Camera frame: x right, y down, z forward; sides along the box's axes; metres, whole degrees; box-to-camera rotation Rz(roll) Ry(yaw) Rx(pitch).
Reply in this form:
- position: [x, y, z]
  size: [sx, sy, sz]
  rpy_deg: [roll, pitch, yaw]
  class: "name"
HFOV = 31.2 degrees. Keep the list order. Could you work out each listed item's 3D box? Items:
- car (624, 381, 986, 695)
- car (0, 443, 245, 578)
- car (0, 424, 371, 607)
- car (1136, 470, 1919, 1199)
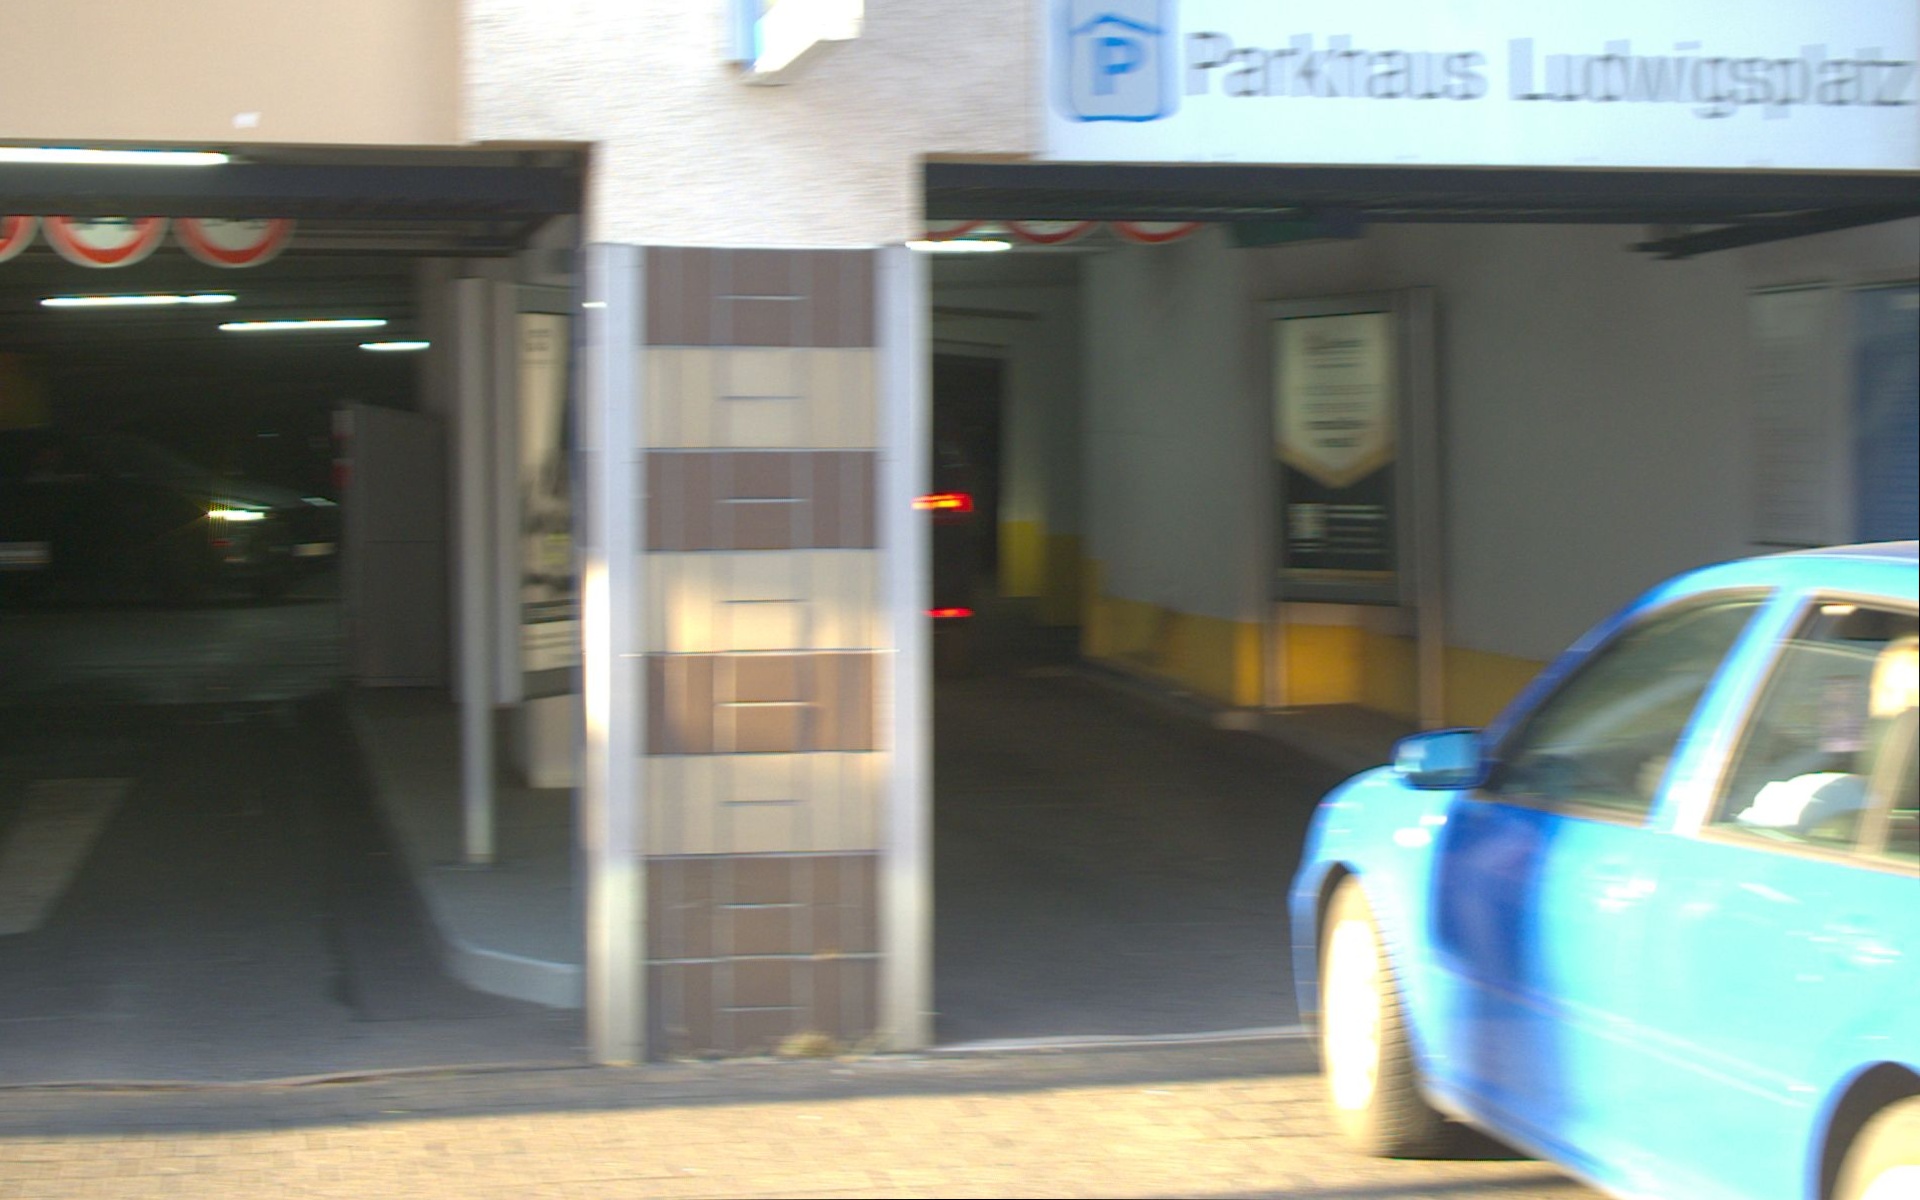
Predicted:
- position: [-0.979, -0.437, 19.700]
  size: [1.555, 1.612, 3.882]
  rpy_deg: [-1, 3, -10]
  class: "car"
- position: [-9.855, -1.034, 38.470]
  size: [3.878, 1.386, 1.605]
  rpy_deg: [3, 4, 41]
  class: "car"
- position: [-7.831, -0.811, 31.803]
  size: [4.288, 1.618, 1.890]
  rpy_deg: [1, 2, 14]
  class: "car"
- position: [1.816, 0.554, 6.428]
  size: [1.688, 1.558, 4.120]
  rpy_deg: [-1, 1, -17]
  class: "car"
